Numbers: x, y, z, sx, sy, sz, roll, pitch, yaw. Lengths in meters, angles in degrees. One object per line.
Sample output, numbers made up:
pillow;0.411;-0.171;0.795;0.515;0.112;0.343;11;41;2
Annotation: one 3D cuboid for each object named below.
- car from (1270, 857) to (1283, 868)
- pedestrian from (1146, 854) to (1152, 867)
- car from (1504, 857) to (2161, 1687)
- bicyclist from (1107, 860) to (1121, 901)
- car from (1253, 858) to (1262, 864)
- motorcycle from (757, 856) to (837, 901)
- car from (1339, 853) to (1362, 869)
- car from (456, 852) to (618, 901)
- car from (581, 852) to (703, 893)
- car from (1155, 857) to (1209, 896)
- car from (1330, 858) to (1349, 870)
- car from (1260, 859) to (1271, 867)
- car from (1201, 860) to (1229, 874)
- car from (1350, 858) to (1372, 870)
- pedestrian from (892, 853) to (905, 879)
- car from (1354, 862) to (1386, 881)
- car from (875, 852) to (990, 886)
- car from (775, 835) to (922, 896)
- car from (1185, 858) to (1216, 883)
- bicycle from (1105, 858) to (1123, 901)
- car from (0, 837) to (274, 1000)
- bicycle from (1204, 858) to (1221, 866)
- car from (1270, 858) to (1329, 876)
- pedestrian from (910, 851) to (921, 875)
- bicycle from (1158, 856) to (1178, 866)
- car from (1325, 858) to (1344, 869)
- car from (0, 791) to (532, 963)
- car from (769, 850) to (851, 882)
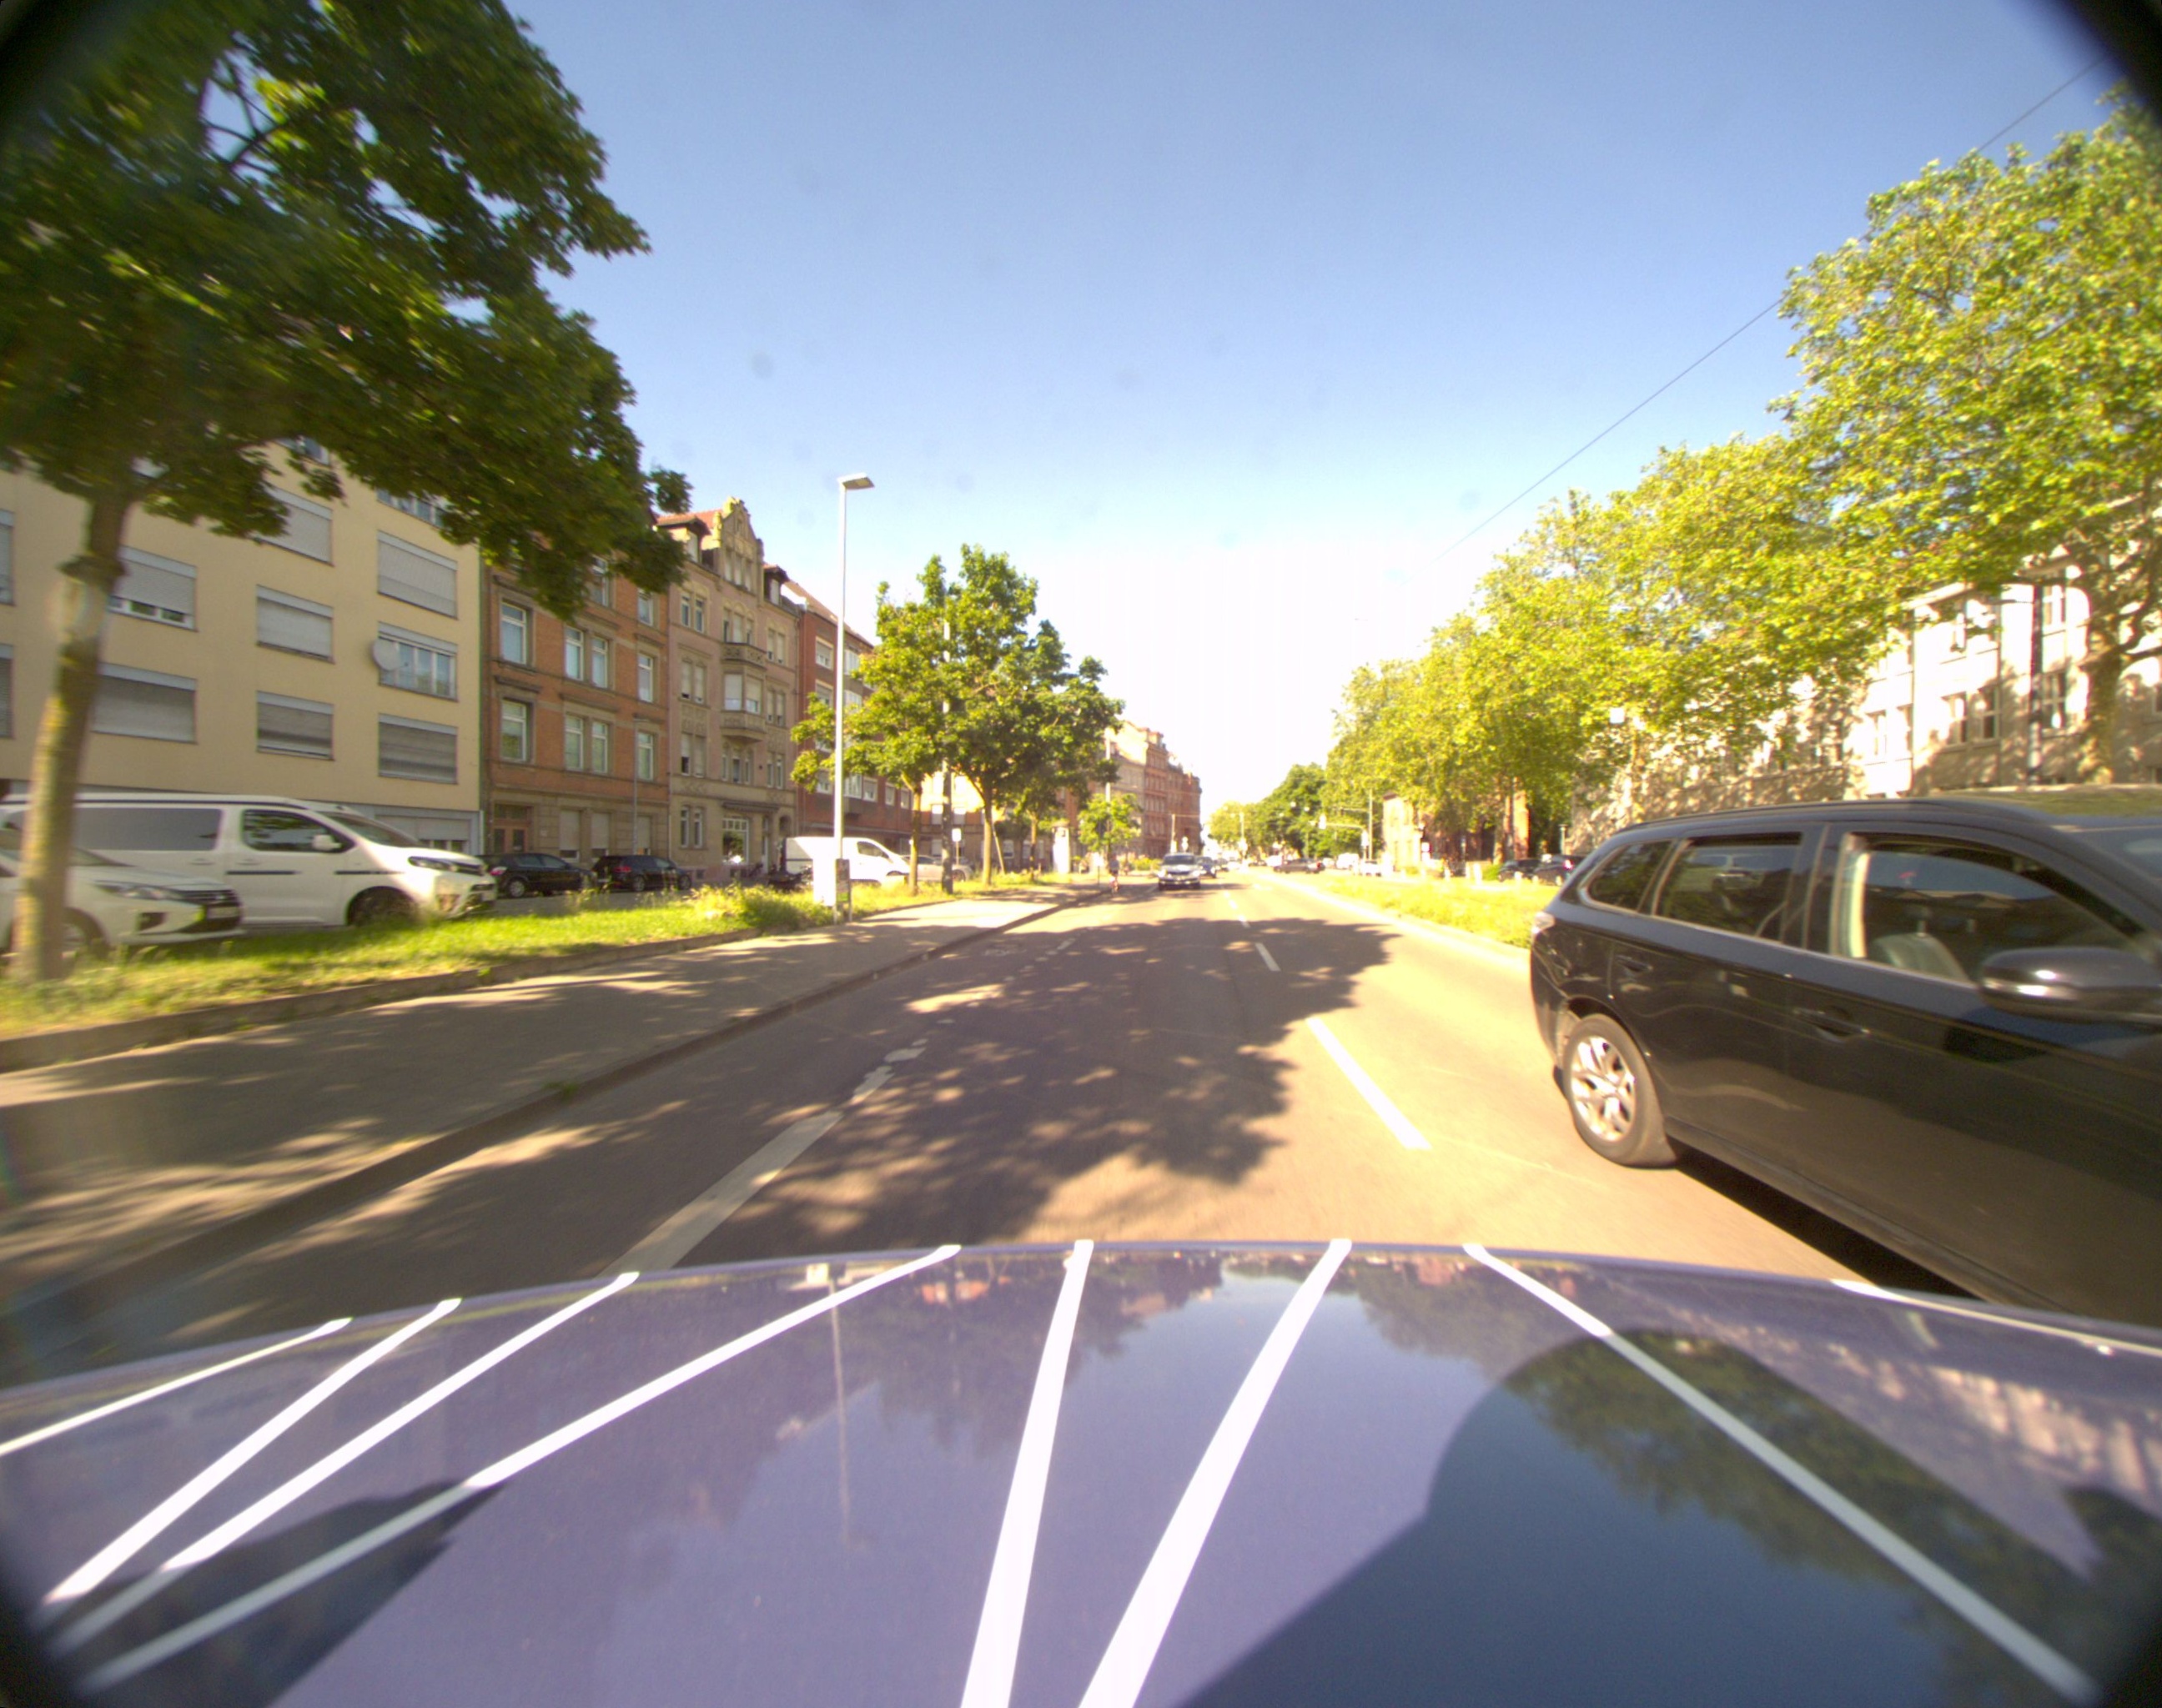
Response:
car;34.877;1.571;135.474;2.064;1.880;4.522;2;0;12
pedestrian;9.691;0.882;108.040;0.821;1.851;0.704;0;0;0
car;3.193;0.880;2.022;1.840;1.672;4.644;-1;0;4
bicyclist;1.303;1.044;30.223;0.438;1.629;0.780;1;0;10
car;41.675;1.664;179.020;1.793;1.542;4.310;0;0;10
motorcycle;-9.263;0.795;24.832;2.267;1.412;0.852;2;0;-40
car;35.047;0.909;98.762;1.919;2.084;4.595;0;0;8
car;-17.570;0.688;24.812;1.881;1.412;4.168;1;-1;9
car;-16.884;0.692;29.476;1.731;1.412;4.297;1;-1;9
car;4.679;0.988;34.837;1.799;1.626;4.399;0;0;16
car;35.546;1.353;104.480;1.794;1.542;3.863;0;0;9
car;37.012;1.793;152.546;1.796;1.420;4.379;0;0;9
car;14.307;1.337;81.429;1.890;1.419;4.374;0;0;-5
car;34.422;1.208;93.546;1.794;1.542;3.863;0;0;9
pedestrian;-12.330;0.831;51.342;0.570;1.748;0.616;1;0;12
car;24.286;1.449;63.964;1.833;1.444;4.174;1;0;11
car;-6.935;0.711;35.528;4.887;1.426;2.016;2;0;-24
car;-8.587;0.457;28.088;4.888;2.063;2.016;2;0;-26
car;8.164;1.102;51.880;1.997;1.608;4.266;0;0;9
bicycle;1.314;0.988;30.262;0.438;1.629;1.940;-2;-1;9
car;-11.197;0.575;7.491;4.036;1.470;1.809;2;1;-24
bicycle;22.670;1.370;130.925;1.803;1.429;8.790;0;0;17
car;20.303;1.192;70.679;1.840;1.444;4.946;1;0;-44
pedestrian;-12.309;0.673;56.372;0.592;1.750;0.642;0;0;10
bicycle;12.205;0.942;106.486;1.967;1.408;6.835;1;0;13
car;36.441;1.309;109.155;1.794;1.542;4.310;0;0;8
car;-11.074;0.323;10.527;5.193;2.001;2.097;2;1;-20
car;-14.396;0.601;40.685;1.997;1.465;4.493;-3;0;12
